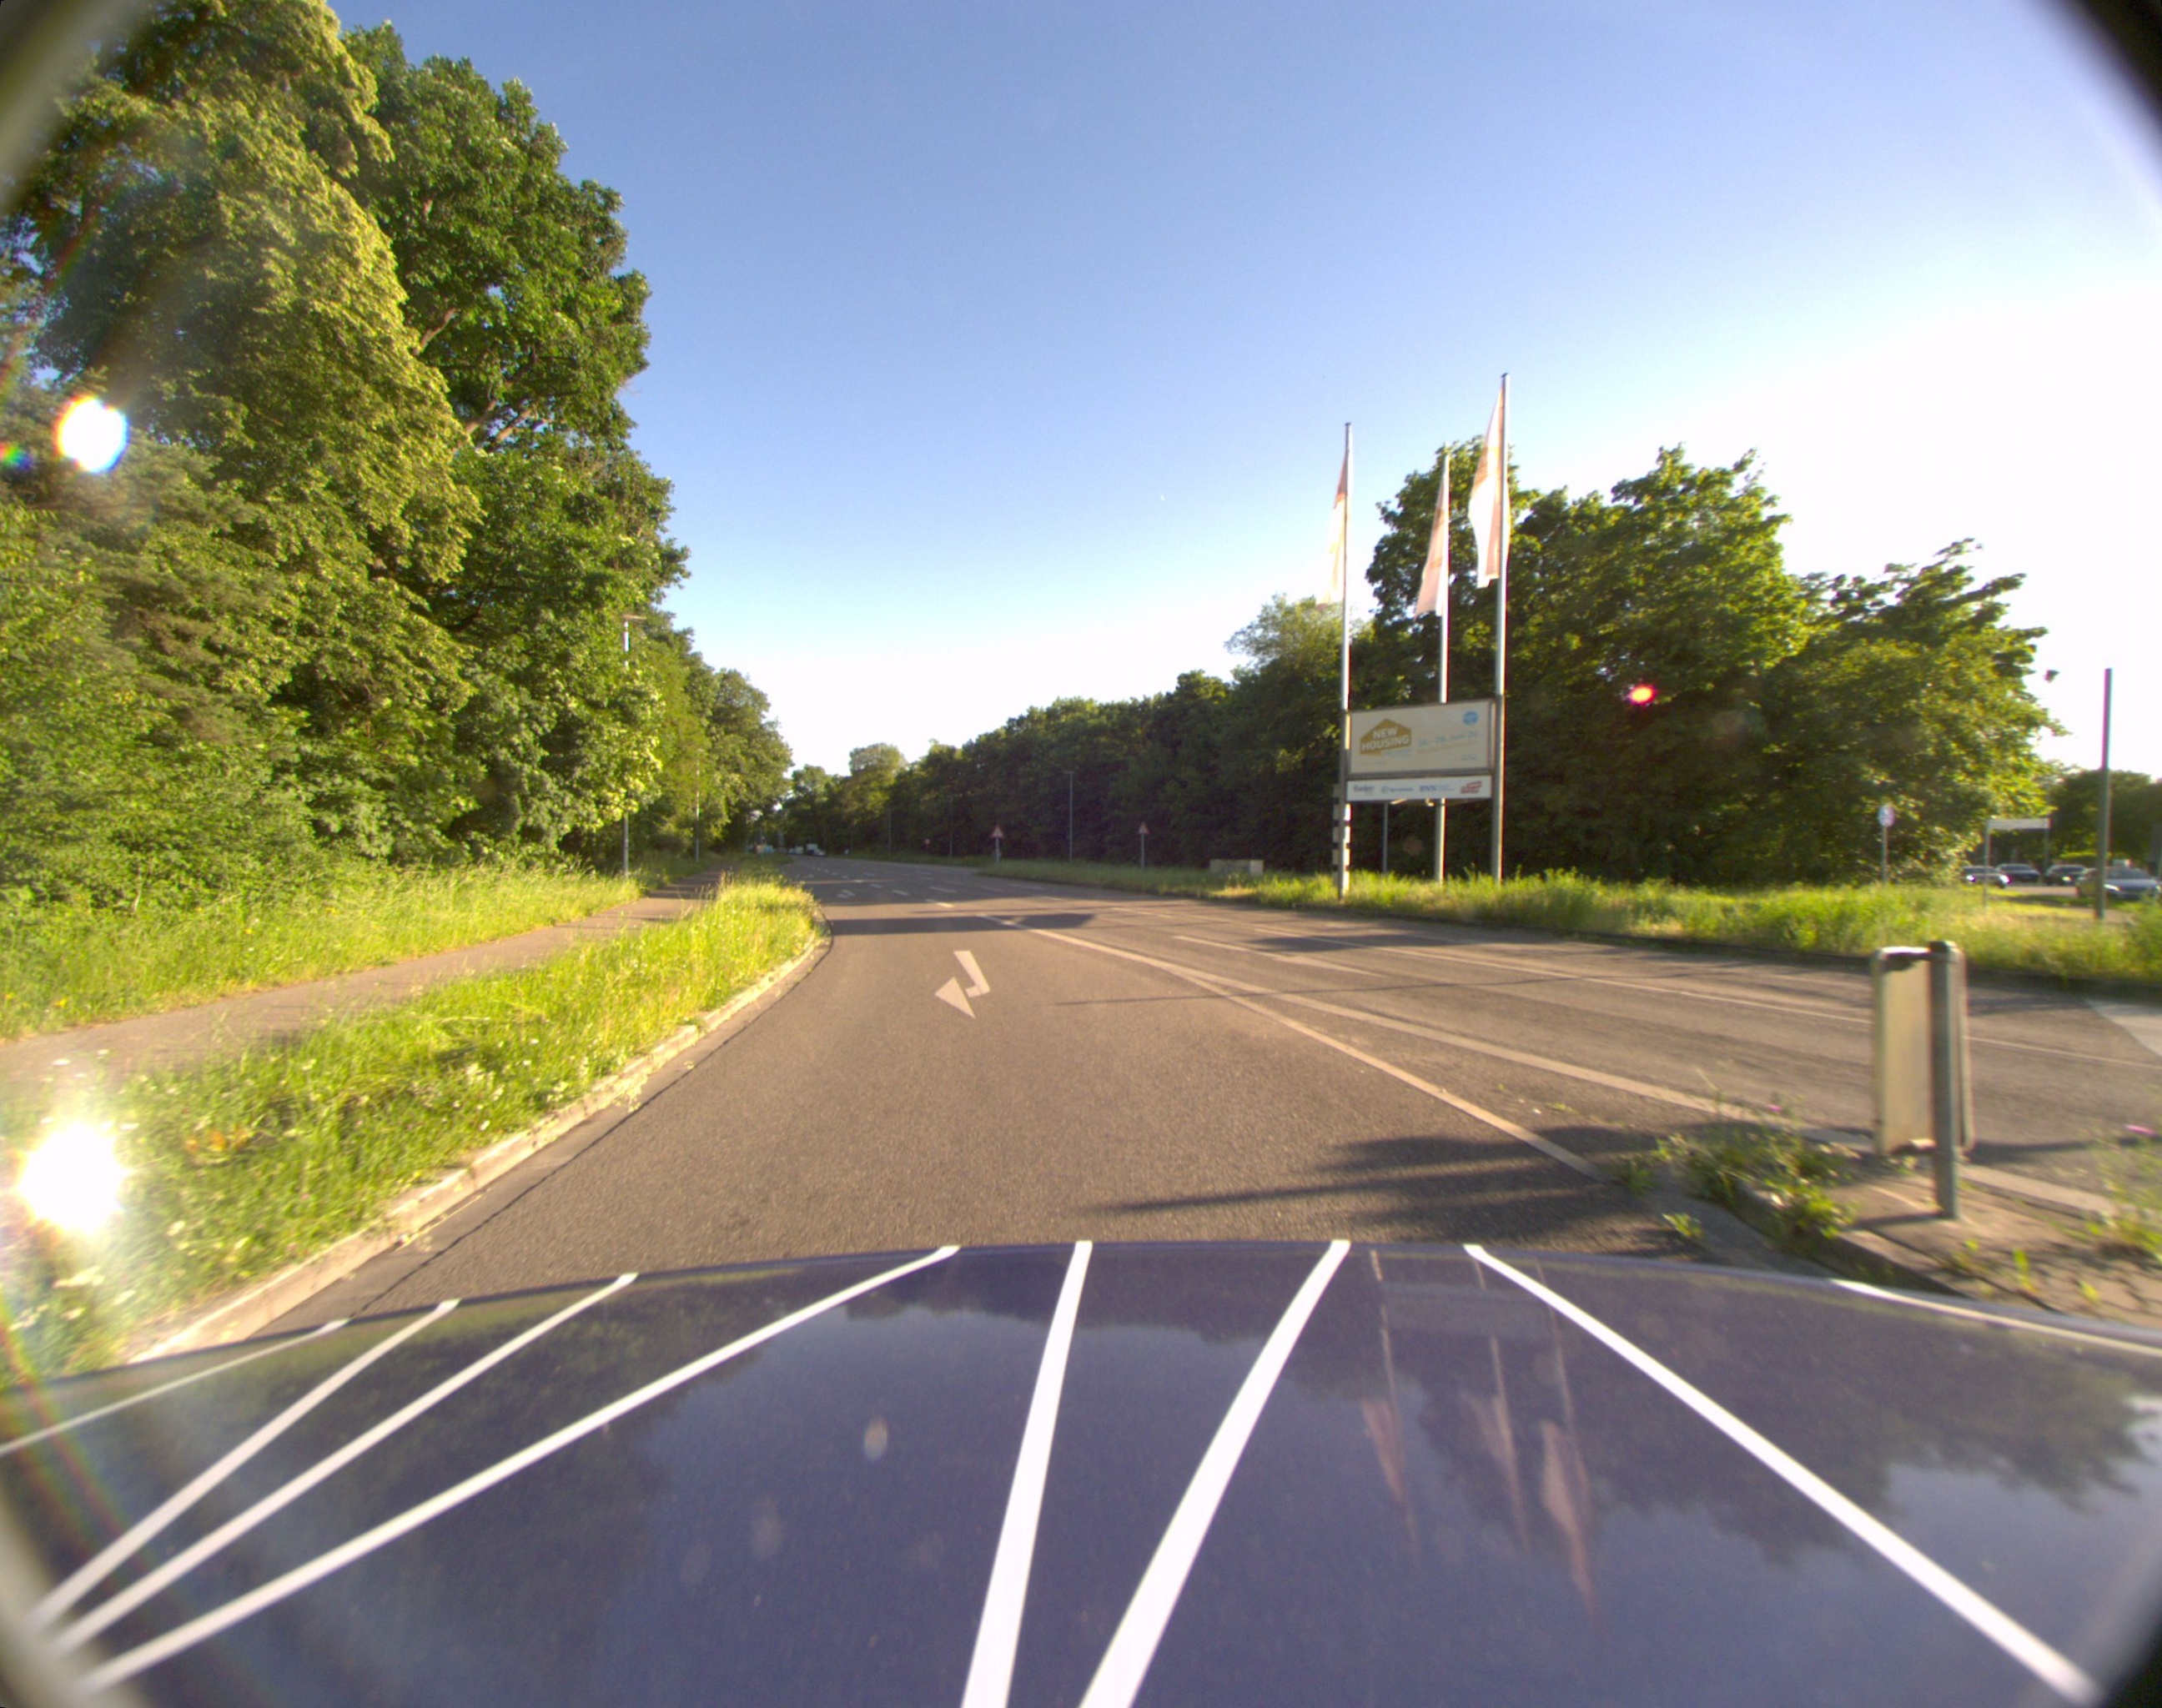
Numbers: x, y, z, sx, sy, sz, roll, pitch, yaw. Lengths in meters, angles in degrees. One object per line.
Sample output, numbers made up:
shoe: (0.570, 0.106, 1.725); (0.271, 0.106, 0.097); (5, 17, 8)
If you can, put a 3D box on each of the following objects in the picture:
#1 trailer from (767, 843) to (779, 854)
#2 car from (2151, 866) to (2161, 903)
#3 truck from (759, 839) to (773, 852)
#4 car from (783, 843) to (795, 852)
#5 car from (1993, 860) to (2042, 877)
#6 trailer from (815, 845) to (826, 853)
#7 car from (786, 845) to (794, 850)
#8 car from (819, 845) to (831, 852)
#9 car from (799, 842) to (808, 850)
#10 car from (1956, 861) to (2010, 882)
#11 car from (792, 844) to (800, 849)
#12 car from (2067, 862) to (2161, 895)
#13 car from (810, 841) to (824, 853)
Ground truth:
trailer: (-62.891, -1.101, 155.307); (1.873, 2.166, 4.119); (-2, 2, -27)
car: (41.520, 1.187, 27.798); (1.848, 1.381, 3.808); (1, 1, 41)
truck: (-71.005, -1.922, 171.162); (2.394, 2.856, 5.585); (-3, 2, -27)
car: (-64.434, -1.395, 167.777); (2.003, 2.002, 3.990); (0, 1, -29)
car: (83.912, 1.257, 68.160); (1.768, 1.444, 4.008); (1, 1, 36)
trailer: (-57.706, -1.197, 168.558); (1.810, 1.719, 3.639); (2, 0, -27)
car: (-89.439, -1.959, 233.614); (1.810, 1.496, 3.903); (2, 0, -27)
car: (-55.367, -1.218, 164.169); (1.919, 1.455, 4.002); (2, 0, -27)
car: (-76.176, -2.287, 208.607); (1.695, 2.089, 4.621); (2, 1, -27)
car: (63.465, 1.194, 53.543); (1.848, 1.381, 3.808); (1, 1, 41)
car: (-82.325, -2.117, 219.465); (1.810, 1.496, 3.903); (2, 0, -27)
car: (48.487, 1.122, 35.717); (1.848, 1.381, 3.808); (1, 1, 41)
car: (-62.524, -1.687, 179.802); (2.466, 2.830, 4.787); (2, 1, -27)
